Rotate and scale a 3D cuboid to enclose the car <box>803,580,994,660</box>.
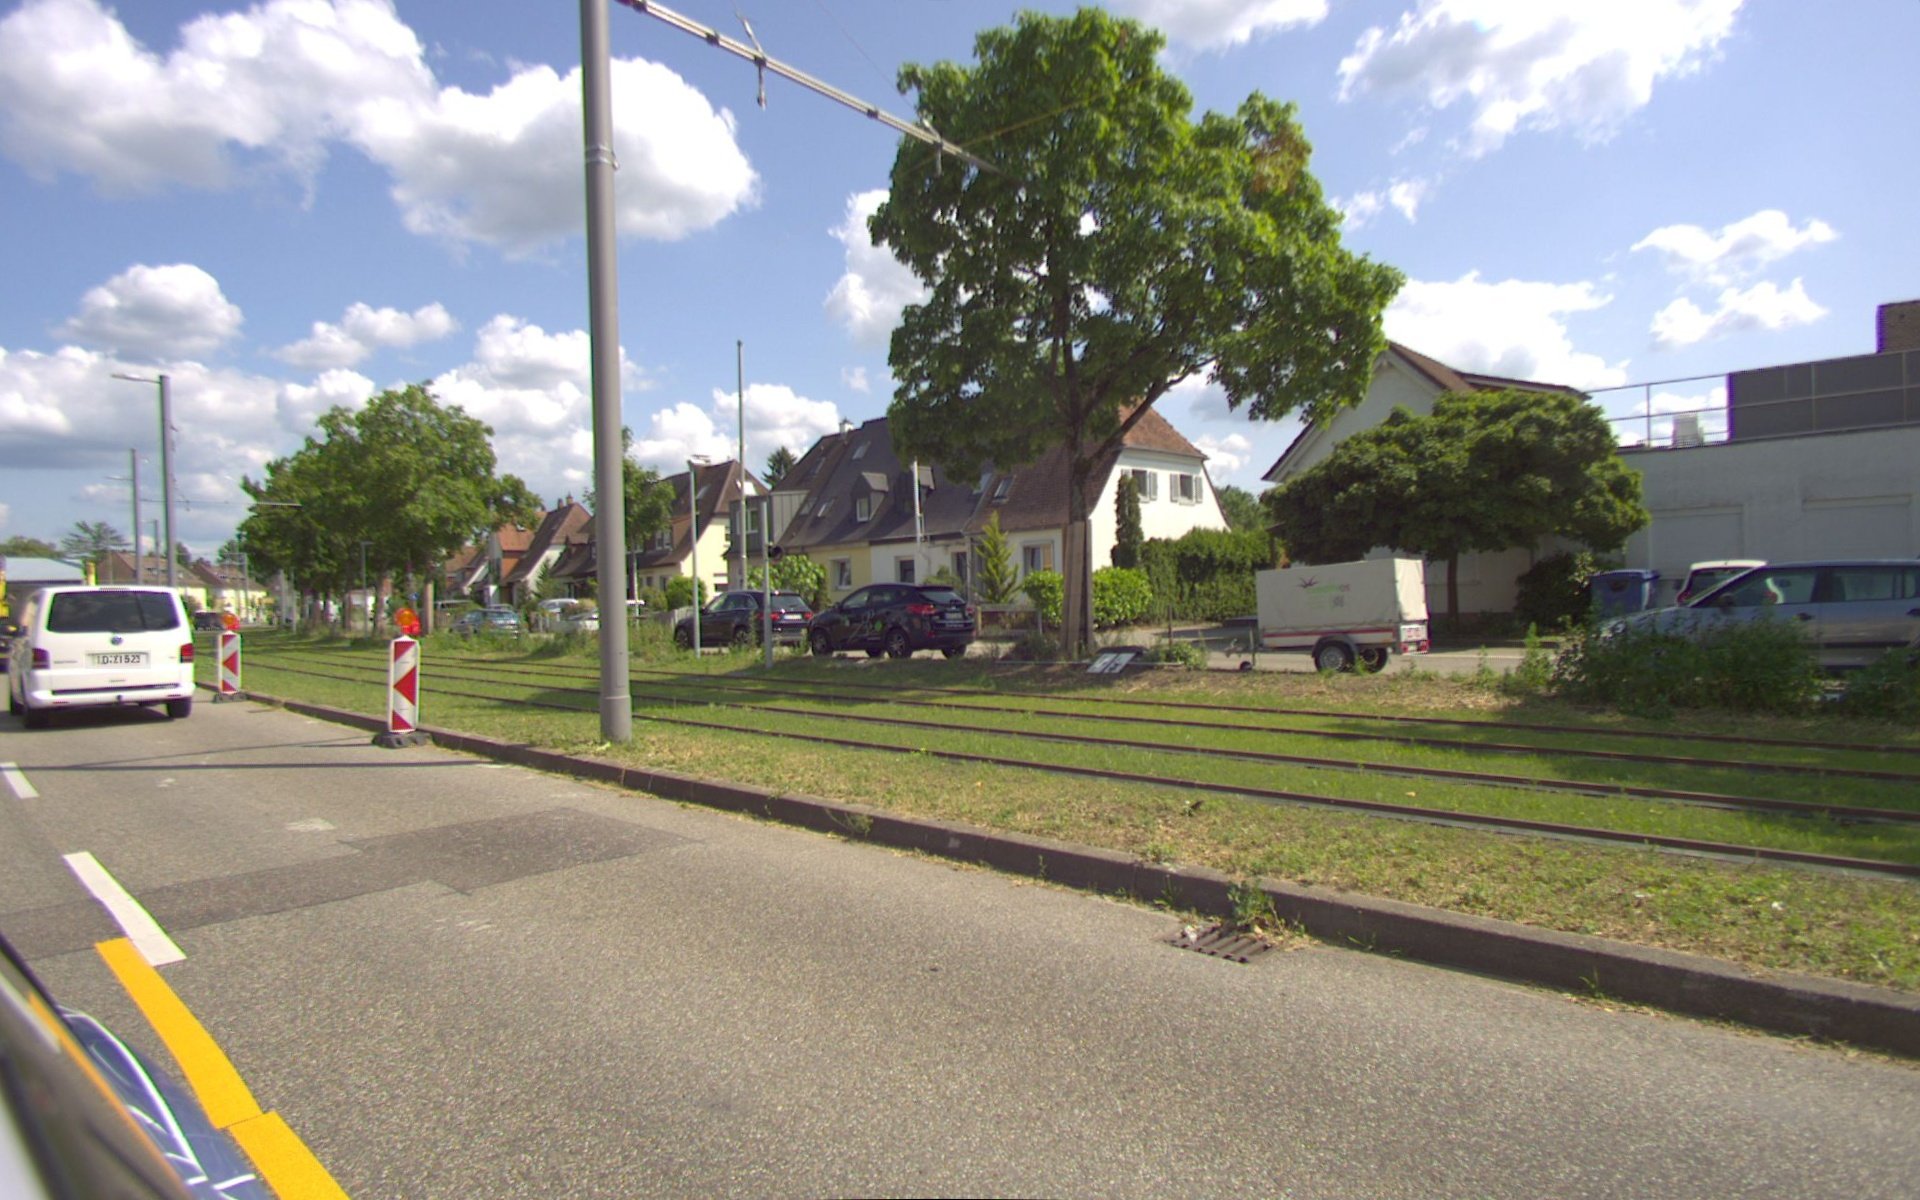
[{"bbox_3d":[-1.420,0.512,22.193,4.100,1.590,1.884,-3,-4,43],"label":"car"}]

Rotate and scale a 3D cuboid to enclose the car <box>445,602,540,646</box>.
[{"bbox_3d":[-18.178,0.901,39.280,4.324,1.551,1.971,-1,1,45],"label":"car"}]

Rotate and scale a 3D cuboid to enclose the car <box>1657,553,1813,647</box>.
[{"bbox_3d":[14.742,-0.007,19.175,1.999,1.539,3.945,-5,-2,41],"label":"car"}]

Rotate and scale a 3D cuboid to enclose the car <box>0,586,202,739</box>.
[{"bbox_3d":[-13.121,0.851,15.305,4.562,1.957,1.918,-2,-1,43],"label":"car"}]

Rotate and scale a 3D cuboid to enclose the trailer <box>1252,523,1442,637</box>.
[{"bbox_3d":[5.676,-0.263,14.911,2.281,1.530,1.285,-1,0,42],"label":"trailer"}]

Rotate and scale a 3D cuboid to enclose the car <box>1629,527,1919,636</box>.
[{"bbox_3d":[9.848,-0.197,11.286,3.833,1.101,1.763,-1,0,40],"label":"car"}]

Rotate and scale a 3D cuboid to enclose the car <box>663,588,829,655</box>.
[{"bbox_3d":[-5.494,0.511,25.670,4.322,1.551,1.972,-1,0,43],"label":"car"}]

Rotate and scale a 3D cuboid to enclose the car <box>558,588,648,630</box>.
[{"bbox_3d":[-18.460,0.448,52.394,3.939,2.029,2.002,-1,0,-43],"label":"car"}]

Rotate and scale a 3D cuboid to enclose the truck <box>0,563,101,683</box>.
[{"bbox_3d":[-29.356,0.721,32.210,2.664,3.391,8.057,-1,-1,-43],"label":"truck"}]

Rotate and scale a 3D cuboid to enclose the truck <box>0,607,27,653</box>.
[{"bbox_3d":[-65.226,2.003,68.070,2.492,2.970,7.881,-1,0,-34],"label":"truck"}]
